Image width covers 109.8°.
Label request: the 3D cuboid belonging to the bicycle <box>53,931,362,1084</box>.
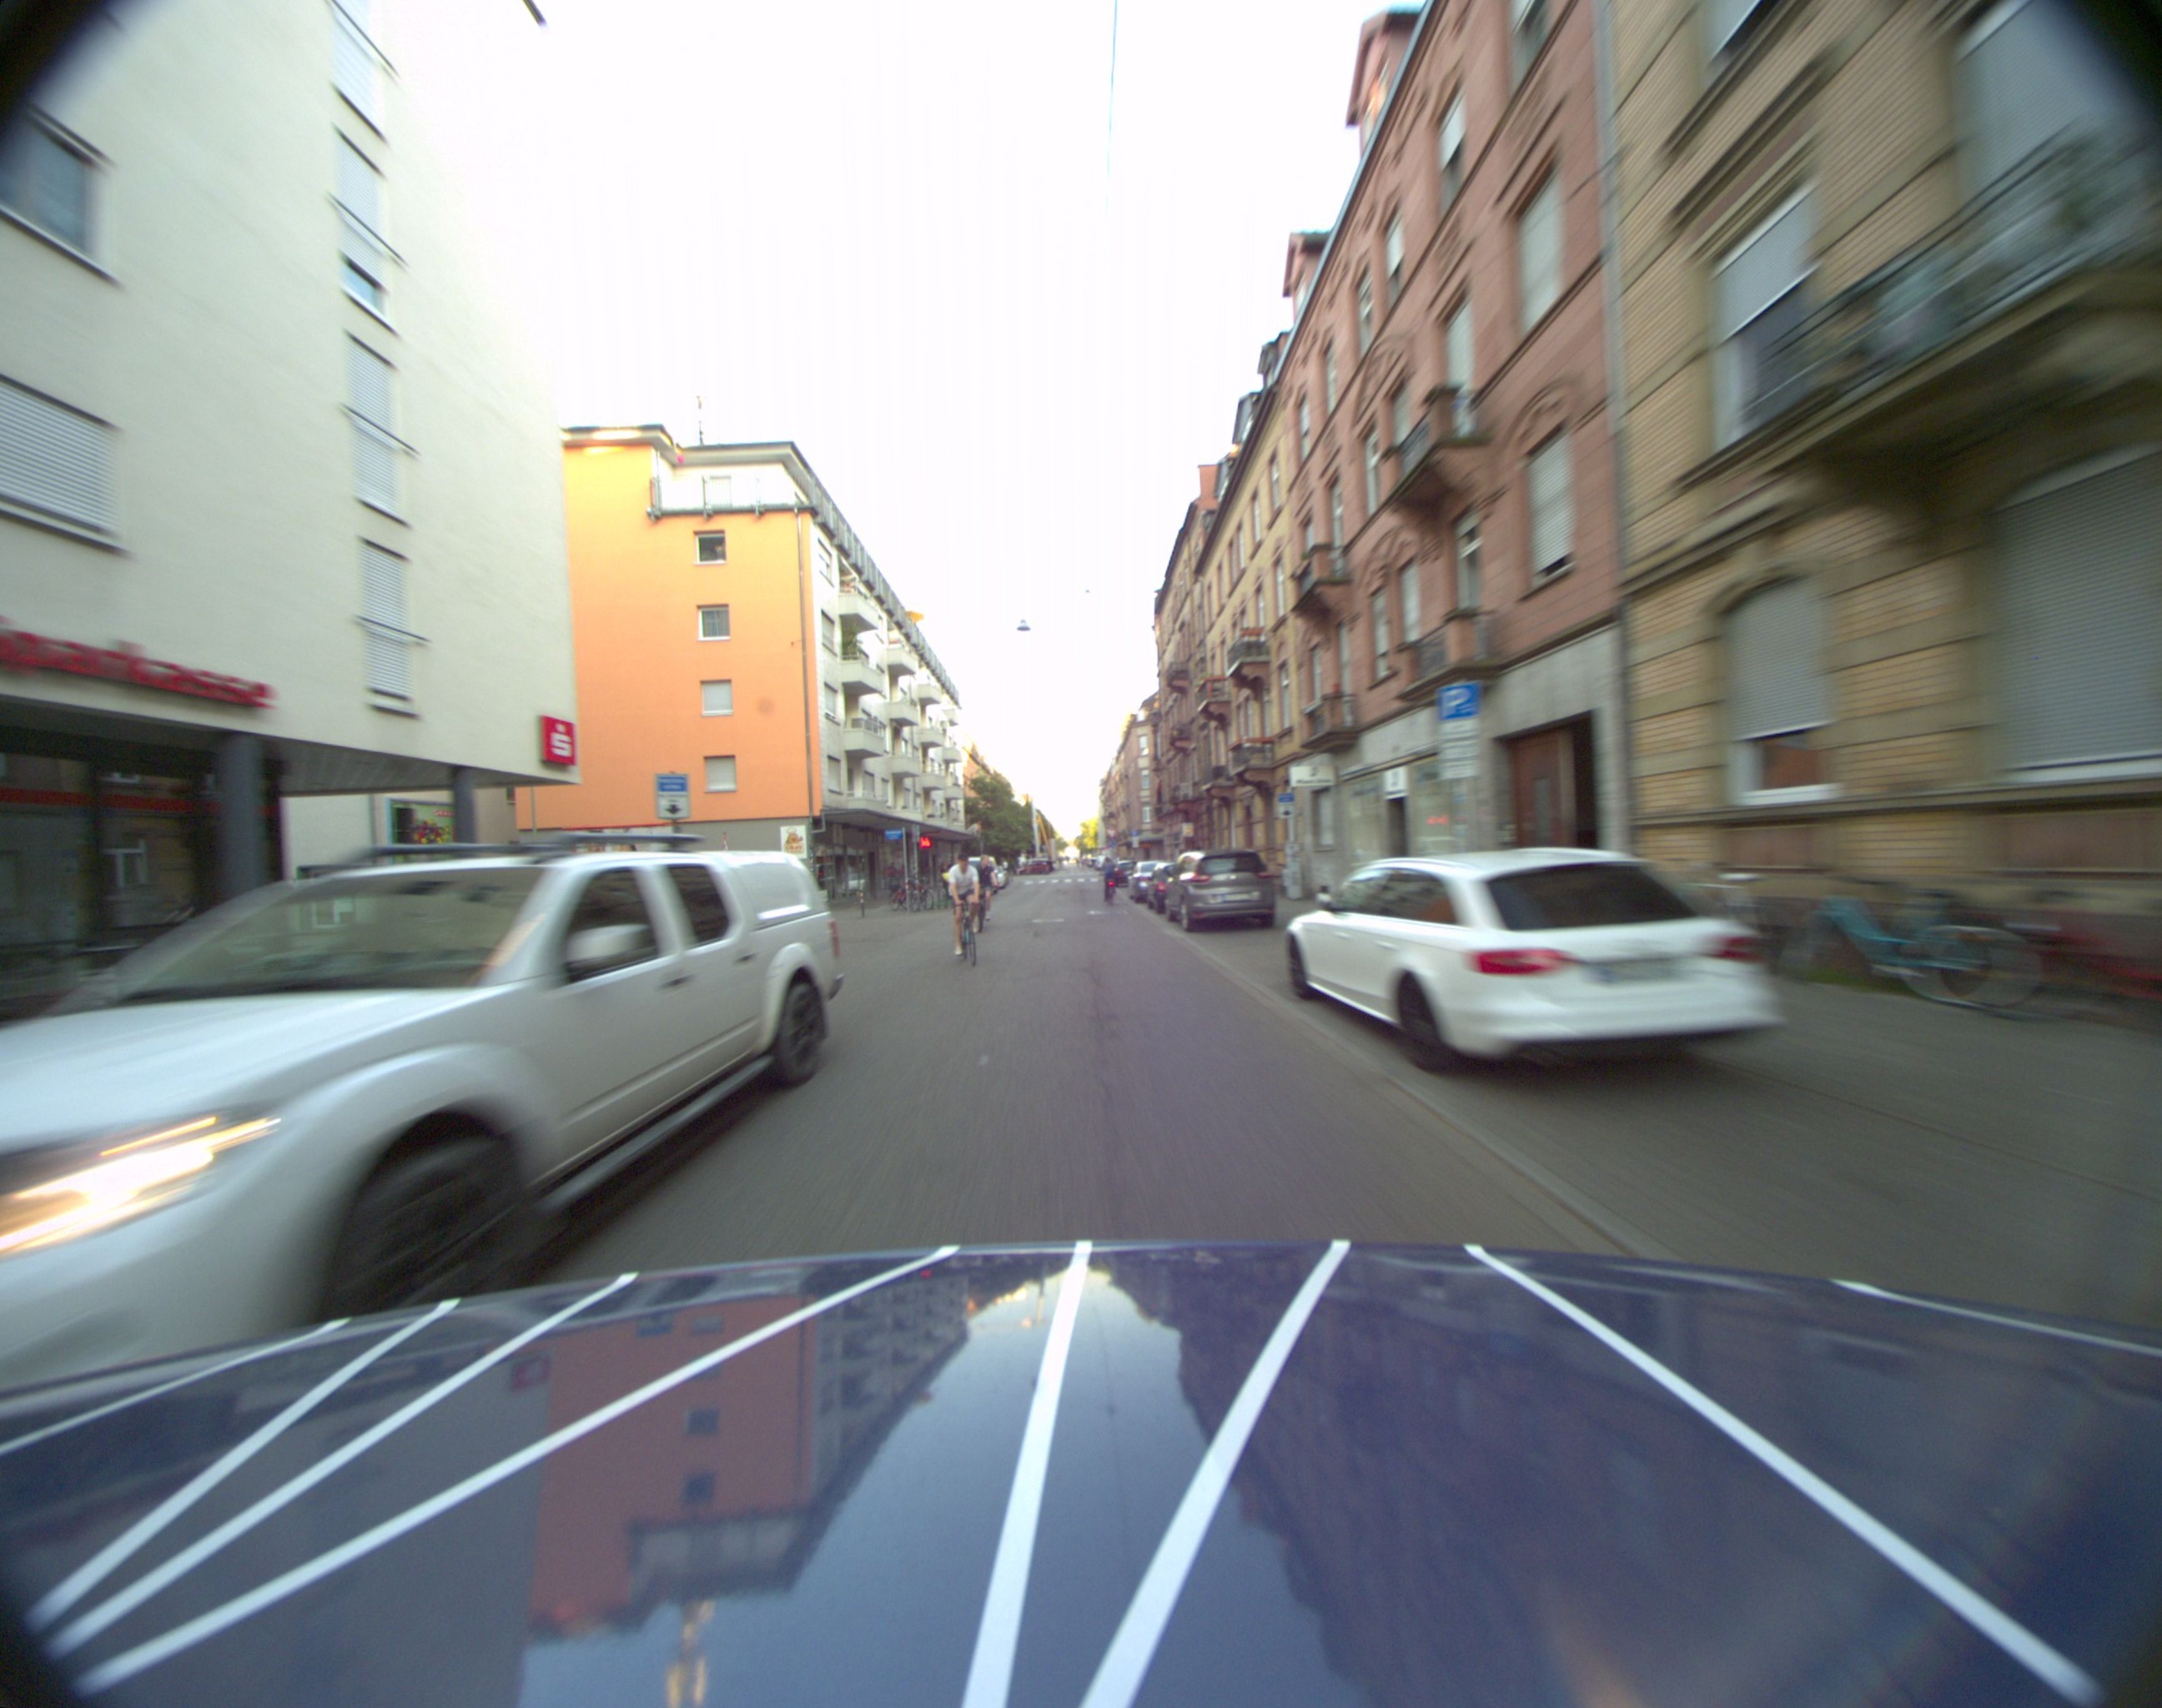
[{"bbox_3d":[-7.238,1.246,6.361,1.727,1.111,0.653,-1,1,-3],"label":"bicycle"}]

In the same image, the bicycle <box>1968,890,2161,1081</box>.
[{"bbox_3d":[6.410,0.766,4.363,0.594,1.021,1.623,-3,0,-8],"label":"bicycle"}]

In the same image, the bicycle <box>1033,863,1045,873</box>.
[{"bbox_3d":[-5.047,1.660,90.782,0.666,1.125,2.111,-1,0,-28],"label":"bicycle"}]

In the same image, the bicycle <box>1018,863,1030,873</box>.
[{"bbox_3d":[-6.739,1.642,89.788,0.666,1.158,2.111,-1,0,-28],"label":"bicycle"}]

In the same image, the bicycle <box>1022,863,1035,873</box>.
[{"bbox_3d":[-6.215,1.649,90.076,0.666,1.125,2.111,-1,0,-28],"label":"bicycle"}]

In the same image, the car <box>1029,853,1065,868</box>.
[{"bbox_3d":[-5.536,1.038,122.196,5.152,2.182,2.334,-4,1,-25],"label":"car"}]

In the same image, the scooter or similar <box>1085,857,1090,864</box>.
[{"bbox_3d":[1.078,1.053,124.325,0.809,1.097,1.172,-2,0,-2],"label":"scooter or similar"}]

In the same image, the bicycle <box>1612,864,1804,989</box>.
[{"bbox_3d":[6.434,0.688,7.930,0.517,1.125,1.730,-3,0,-1],"label":"bicycle"}]

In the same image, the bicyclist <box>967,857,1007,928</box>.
[{"bbox_3d":[-2.189,0.892,17.711,0.794,1.562,0.826,-4,0,-5],"label":"bicyclist"}]

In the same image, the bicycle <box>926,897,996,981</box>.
[{"bbox_3d":[-1.819,1.267,11.791,0.658,1.012,1.918,-3,1,2],"label":"bicycle"}]

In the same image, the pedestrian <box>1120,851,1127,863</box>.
[{"bbox_3d":[5.872,0.404,105.834,0.748,1.733,1.213,-4,0,7],"label":"pedestrian"}]

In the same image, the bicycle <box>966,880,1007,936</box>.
[{"bbox_3d":[-2.168,1.216,17.706,0.794,1.132,2.342,-4,-1,-5],"label":"bicycle"}]

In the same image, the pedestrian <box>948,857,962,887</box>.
[{"bbox_3d":[-7.876,1.097,47.466,0.710,1.818,0.860,-1,1,-1],"label":"pedestrian"}]

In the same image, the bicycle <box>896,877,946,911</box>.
[{"bbox_3d":[-5.840,1.440,27.752,1.939,1.128,0.658,0,1,37],"label":"bicycle"}]

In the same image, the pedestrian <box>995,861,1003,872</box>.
[{"bbox_3d":[-9.754,1.539,90.675,0.721,1.297,0.750,-3,0,-20],"label":"pedestrian"}]

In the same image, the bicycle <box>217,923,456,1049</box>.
[{"bbox_3d":[-7.248,1.264,7.443,1.726,1.111,0.654,-1,1,3],"label":"bicycle"}]

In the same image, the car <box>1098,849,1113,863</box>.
[{"bbox_3d":[3.414,0.289,106.025,1.879,1.892,4.326,-3,0,1],"label":"car"}]

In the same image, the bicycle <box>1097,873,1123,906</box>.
[{"bbox_3d":[0.992,1.226,26.611,0.646,1.074,2.168,-1,0,-4],"label":"bicycle"}]

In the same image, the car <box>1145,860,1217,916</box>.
[{"bbox_3d":[2.825,0.925,22.126,1.589,1.412,3.696,-4,0,1],"label":"car"}]

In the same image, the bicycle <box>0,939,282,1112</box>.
[{"bbox_3d":[-7.184,1.236,5.640,1.727,1.111,0.653,-1,1,-3],"label":"bicycle"}]

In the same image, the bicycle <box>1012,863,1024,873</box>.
[{"bbox_3d":[-7.401,1.637,89.474,0.666,1.158,2.111,-1,0,-28],"label":"bicycle"}]

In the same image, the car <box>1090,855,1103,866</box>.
[{"bbox_3d":[2.884,1.244,140.458,2.141,1.811,4.540,-3,0,0],"label":"car"}]

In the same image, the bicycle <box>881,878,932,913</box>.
[{"bbox_3d":[-6.161,1.448,26.754,1.939,1.128,0.658,0,1,37],"label":"bicycle"}]

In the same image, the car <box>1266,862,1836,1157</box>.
[{"bbox_3d":[2.974,0.821,6.170,1.762,1.403,4.508,-4,0,0],"label":"car"}]

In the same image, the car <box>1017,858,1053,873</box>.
[{"bbox_3d":[-5.636,1.408,93.544,4.005,1.658,1.824,-4,1,-31],"label":"car"}]

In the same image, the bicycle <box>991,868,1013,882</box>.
[{"bbox_3d":[-5.753,1.560,55.456,1.482,0.996,0.511,-1,1,6],"label":"bicycle"}]

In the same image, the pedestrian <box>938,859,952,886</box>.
[{"bbox_3d":[-8.533,1.152,47.690,0.710,1.656,0.744,-1,1,-1],"label":"pedestrian"}]

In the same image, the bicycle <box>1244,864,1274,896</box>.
[{"bbox_3d":[6.260,0.885,26.759,0.550,1.031,1.760,-5,0,0],"label":"bicycle"}]

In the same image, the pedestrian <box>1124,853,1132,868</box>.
[{"bbox_3d":[5.707,0.789,92.084,0.654,1.768,0.693,-4,-1,18],"label":"pedestrian"}]

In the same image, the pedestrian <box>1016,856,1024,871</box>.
[{"bbox_3d":[-6.917,1.077,86.183,0.538,1.597,0.870,-2,-1,26],"label":"pedestrian"}]

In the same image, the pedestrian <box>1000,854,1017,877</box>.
[{"bbox_3d":[-5.897,0.915,61.754,1.048,1.800,0.757,-4,-2,10],"label":"pedestrian"}]

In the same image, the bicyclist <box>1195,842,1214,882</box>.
[{"bbox_3d":[5.540,0.335,34.038,0.709,1.720,0.843,-3,2,12],"label":"bicyclist"}]

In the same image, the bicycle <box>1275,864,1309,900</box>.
[{"bbox_3d":[6.471,0.842,23.416,0.450,1.016,1.848,-6,0,0],"label":"bicycle"}]

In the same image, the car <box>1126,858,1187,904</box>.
[{"bbox_3d":[2.716,0.946,28.205,1.727,1.412,4.581,-4,0,0],"label":"car"}]

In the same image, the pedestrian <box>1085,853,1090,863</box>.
[{"bbox_3d":[1.063,0.623,124.323,0.809,1.650,0.672,-2,0,-3],"label":"pedestrian"}]

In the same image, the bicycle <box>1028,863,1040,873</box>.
[{"bbox_3d":[-5.620,1.658,90.436,0.666,1.125,2.111,-1,0,-28],"label":"bicycle"}]

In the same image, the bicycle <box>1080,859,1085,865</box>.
[{"bbox_3d":[0.274,1.725,160.284,0.754,1.124,1.975,-3,-1,-6],"label":"bicycle"}]

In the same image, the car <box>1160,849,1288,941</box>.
[{"bbox_3d":[2.937,0.788,16.610,1.858,1.624,4.446,-4,0,0],"label":"car"}]

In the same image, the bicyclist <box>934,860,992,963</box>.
[{"bbox_3d":[-1.835,0.868,11.933,0.650,1.500,0.953,-3,1,2],"label":"bicyclist"}]

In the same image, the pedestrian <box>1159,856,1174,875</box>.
[{"bbox_3d":[6.024,0.814,53.775,0.650,1.247,0.907,-6,0,-15],"label":"pedestrian"}]

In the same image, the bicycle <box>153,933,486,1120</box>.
[{"bbox_3d":[-5.712,1.257,5.766,1.873,1.175,0.743,1,1,5],"label":"bicycle"}]

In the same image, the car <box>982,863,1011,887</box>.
[{"bbox_3d":[-5.430,1.322,48.907,1.597,1.492,3.422,-1,0,-2],"label":"car"}]

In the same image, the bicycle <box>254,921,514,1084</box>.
[{"bbox_3d":[-6.044,1.241,6.630,1.791,1.175,0.734,1,1,10],"label":"bicycle"}]

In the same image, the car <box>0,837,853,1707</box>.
[{"bbox_3d":[-3.011,0.926,3.977,1.915,1.842,5.270,-3,0,0],"label":"car"}]

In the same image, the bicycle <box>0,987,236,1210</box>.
[{"bbox_3d":[-6.122,1.367,4.420,1.723,1.025,0.667,1,1,3],"label":"bicycle"}]

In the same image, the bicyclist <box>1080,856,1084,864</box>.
[{"bbox_3d":[0.241,1.172,160.286,0.754,1.630,1.201,-3,0,-6],"label":"bicyclist"}]

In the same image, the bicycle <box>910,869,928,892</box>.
[{"bbox_3d":[-9.001,1.444,42.097,0.913,1.189,1.709,-1,1,-14],"label":"bicycle"}]

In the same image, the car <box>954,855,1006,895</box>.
[{"bbox_3d":[-5.231,1.070,39.957,1.963,1.962,5.003,-1,0,0],"label":"car"}]

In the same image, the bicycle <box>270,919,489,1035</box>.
[{"bbox_3d":[-7.355,1.272,8.013,1.726,1.111,0.654,-1,1,3],"label":"bicycle"}]

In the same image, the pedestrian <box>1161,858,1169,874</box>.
[{"bbox_3d":[6.048,0.862,54.777,0.504,1.137,0.791,-3,1,1],"label":"pedestrian"}]

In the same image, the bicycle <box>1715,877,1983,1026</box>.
[{"bbox_3d":[6.373,0.747,6.444,0.566,1.030,1.624,-3,0,-1],"label":"bicycle"}]

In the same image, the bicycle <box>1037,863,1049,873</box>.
[{"bbox_3d":[-4.562,1.645,91.252,0.666,1.162,2.111,-1,0,-28],"label":"bicycle"}]

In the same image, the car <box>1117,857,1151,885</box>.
[{"bbox_3d":[2.910,0.930,42.434,1.697,1.412,3.855,-4,0,3],"label":"car"}]

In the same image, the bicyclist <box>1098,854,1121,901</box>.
[{"bbox_3d":[0.990,0.799,26.597,0.646,1.611,0.918,-1,0,-4],"label":"bicyclist"}]

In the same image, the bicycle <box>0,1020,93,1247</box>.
[{"bbox_3d":[-6.137,1.386,3.780,1.776,1.016,0.565,1,1,3],"label":"bicycle"}]

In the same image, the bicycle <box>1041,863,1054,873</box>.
[{"bbox_3d":[-3.994,1.635,91.128,0.666,1.162,2.111,-1,0,-28],"label":"bicycle"}]

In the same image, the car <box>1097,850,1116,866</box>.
[{"bbox_3d":[3.329,0.493,99.879,2.141,1.946,4.768,-4,0,-1],"label":"car"}]
